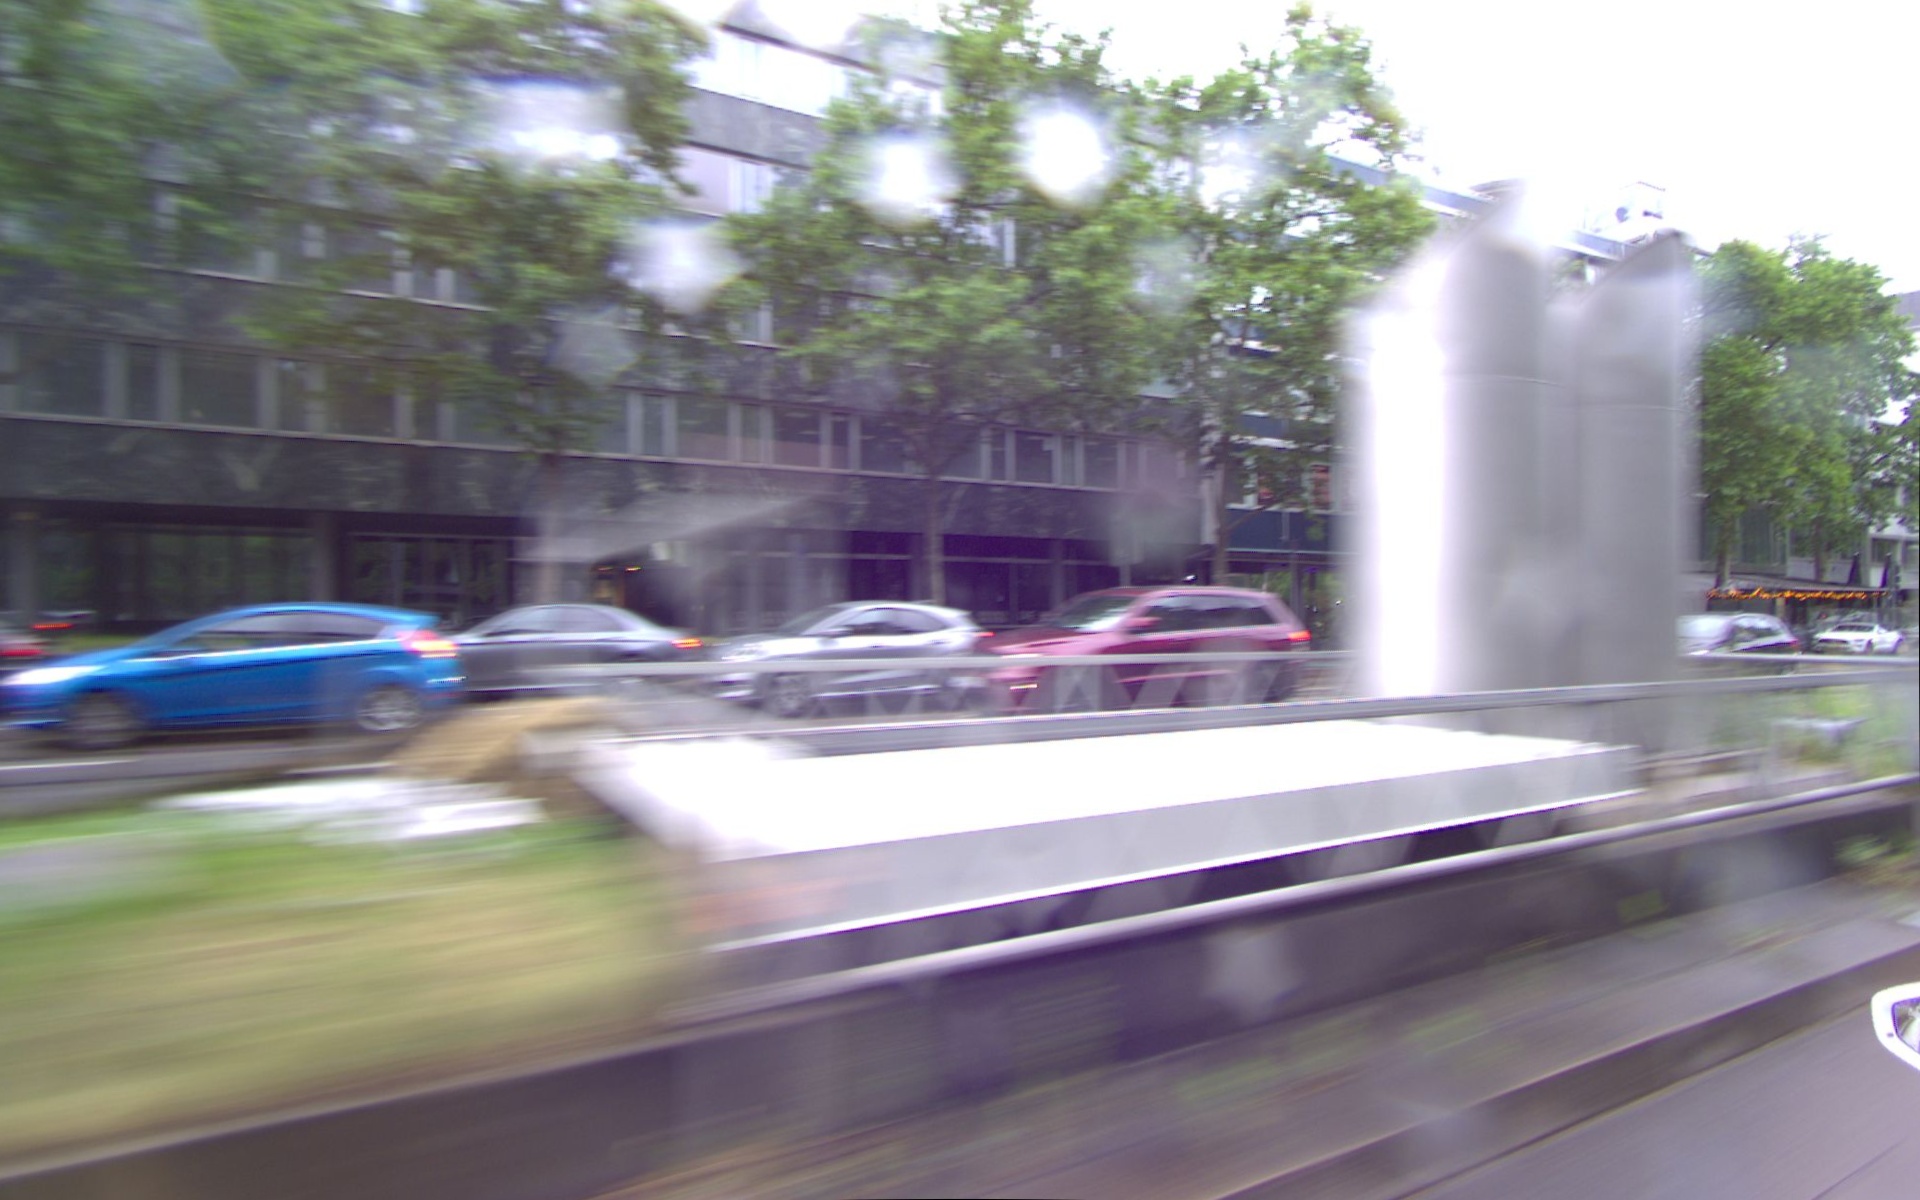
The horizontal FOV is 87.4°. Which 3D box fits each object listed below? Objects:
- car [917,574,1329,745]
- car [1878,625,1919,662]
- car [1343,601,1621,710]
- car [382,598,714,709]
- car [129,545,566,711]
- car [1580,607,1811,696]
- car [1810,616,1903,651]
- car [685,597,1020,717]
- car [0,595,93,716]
[{"bbox_3d":[2.118,0.642,12.563,5.045,1.790,1.828,0,0,-28],"label":"car"},{"bbox_3d":[42.792,1.918,44.633,3.951,1.528,1.829,0,0,-29],"label":"car"},{"bbox_3d":[8.678,0.834,16.602,4.771,1.594,1.728,0,0,-28],"label":"car"},{"bbox_3d":[-6.299,0.719,15.515,4.535,1.466,1.881,0,0,-31],"label":"car"},{"bbox_3d":[-6.726,0.294,11.421,3.955,1.586,1.744,1,0,-32],"label":"car"},{"bbox_3d":[14.551,0.938,19.849,4.483,1.573,1.907,0,0,-27],"label":"car"},{"bbox_3d":[38.507,1.418,43.121,4.625,1.371,1.552,0,1,-29],"label":"car"},{"bbox_3d":[-1.492,0.731,14.460,4.513,1.511,1.712,0,0,-29],"label":"car"},{"bbox_3d":[-12.957,0.629,11.777,3.934,1.406,1.982,1,0,-33],"label":"car"}]
